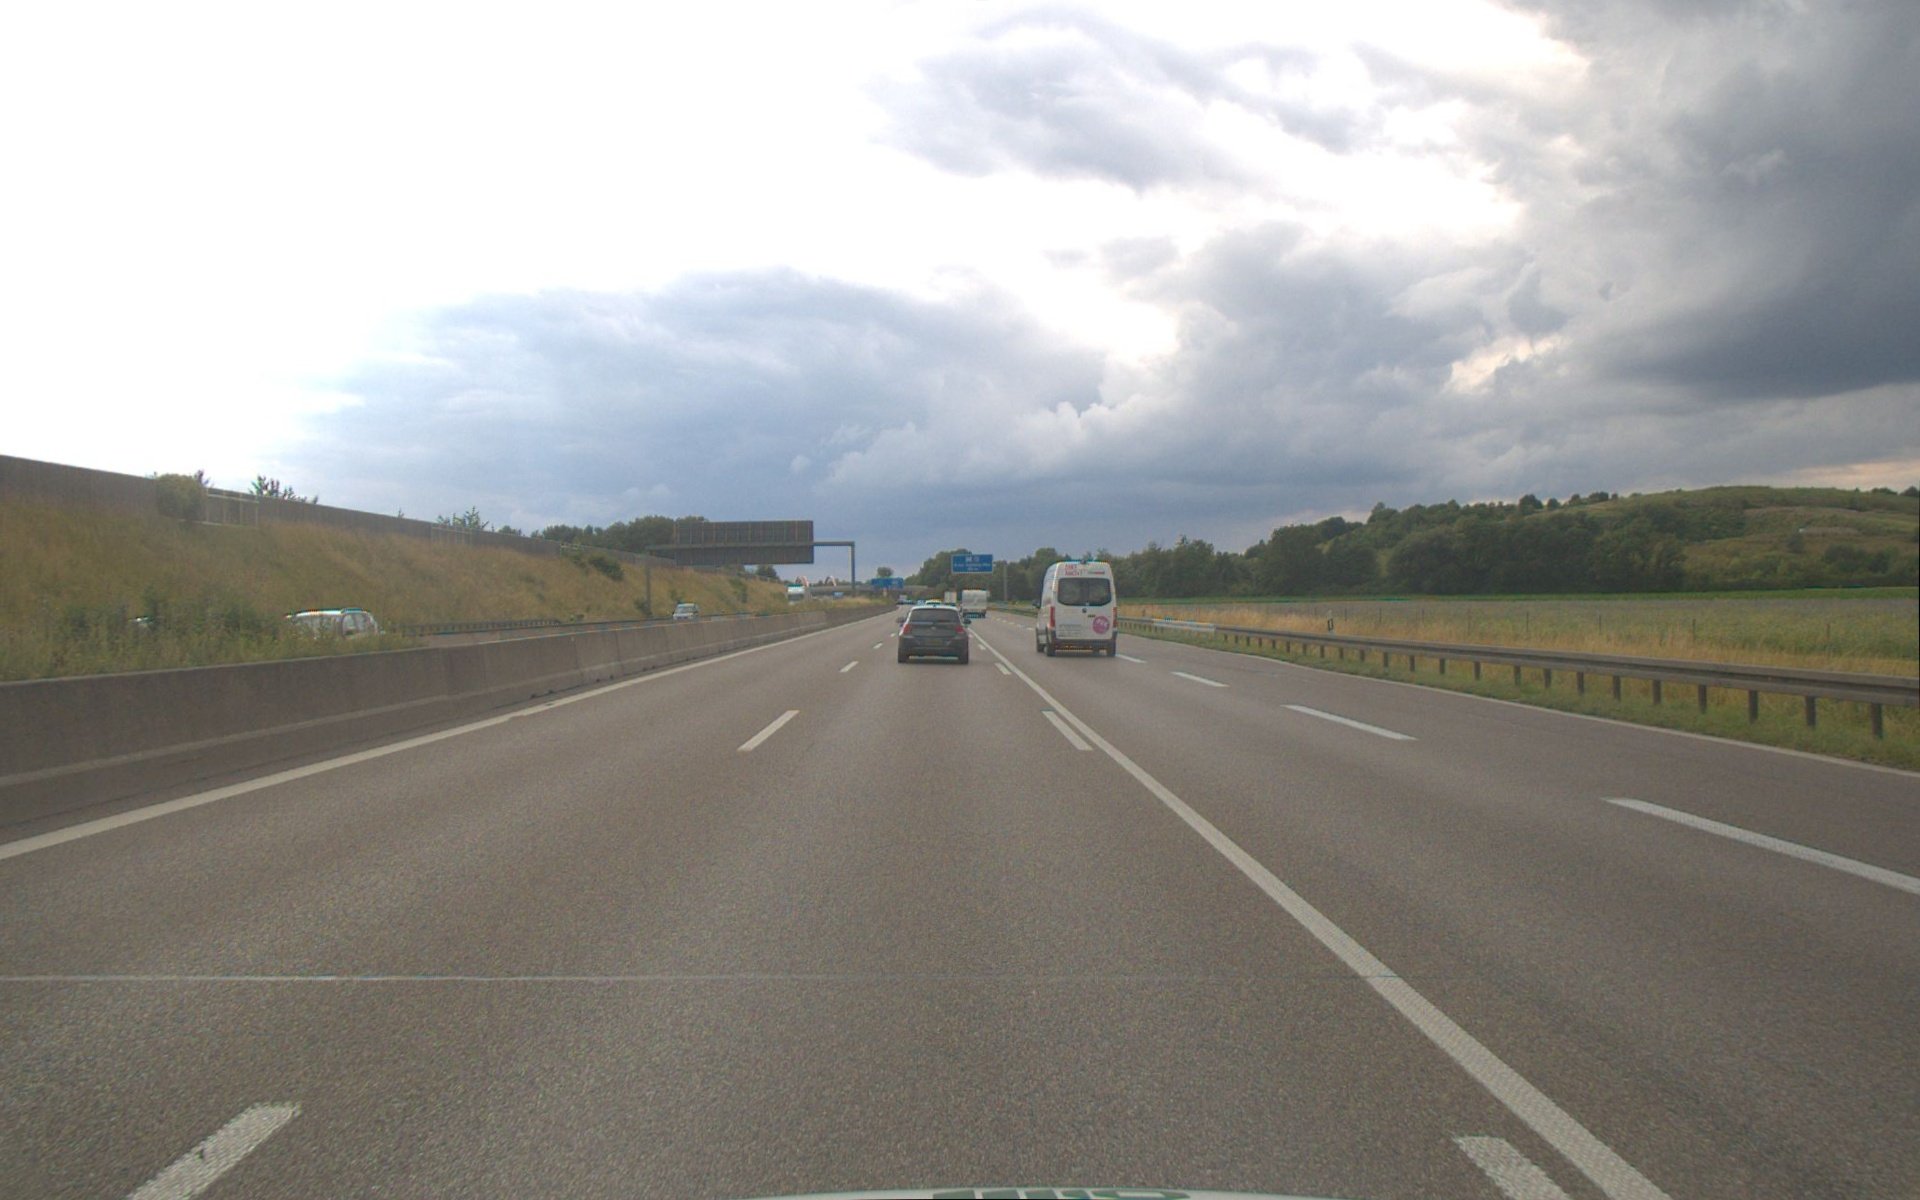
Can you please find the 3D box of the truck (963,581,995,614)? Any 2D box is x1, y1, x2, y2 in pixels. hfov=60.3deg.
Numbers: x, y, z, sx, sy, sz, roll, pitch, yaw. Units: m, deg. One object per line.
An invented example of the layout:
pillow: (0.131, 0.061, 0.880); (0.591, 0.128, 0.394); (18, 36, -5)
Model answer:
truck: (1.787, -0.213, 160.020); (2.655, 3.016, 12.444); (1, 0, -1)

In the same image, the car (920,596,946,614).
car: (-2.167, 0.401, 132.070); (1.953, 1.321, 3.999); (-1, 0, -2)

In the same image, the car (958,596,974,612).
car: (0.785, 0.547, 213.963); (1.953, 2.049, 3.999); (-1, 0, -1)

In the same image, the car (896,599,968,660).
car: (-0.686, 0.702, 41.422); (1.708, 1.413, 3.999); (0, 0, -1)

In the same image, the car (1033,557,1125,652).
car: (3.429, 0.114, 48.979); (2.176, 2.613, 6.255); (0, 0, -1)

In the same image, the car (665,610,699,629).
car: (-21.716, 1.530, 129.384); (1.953, 1.388, 4.939); (1, 0, -1)
